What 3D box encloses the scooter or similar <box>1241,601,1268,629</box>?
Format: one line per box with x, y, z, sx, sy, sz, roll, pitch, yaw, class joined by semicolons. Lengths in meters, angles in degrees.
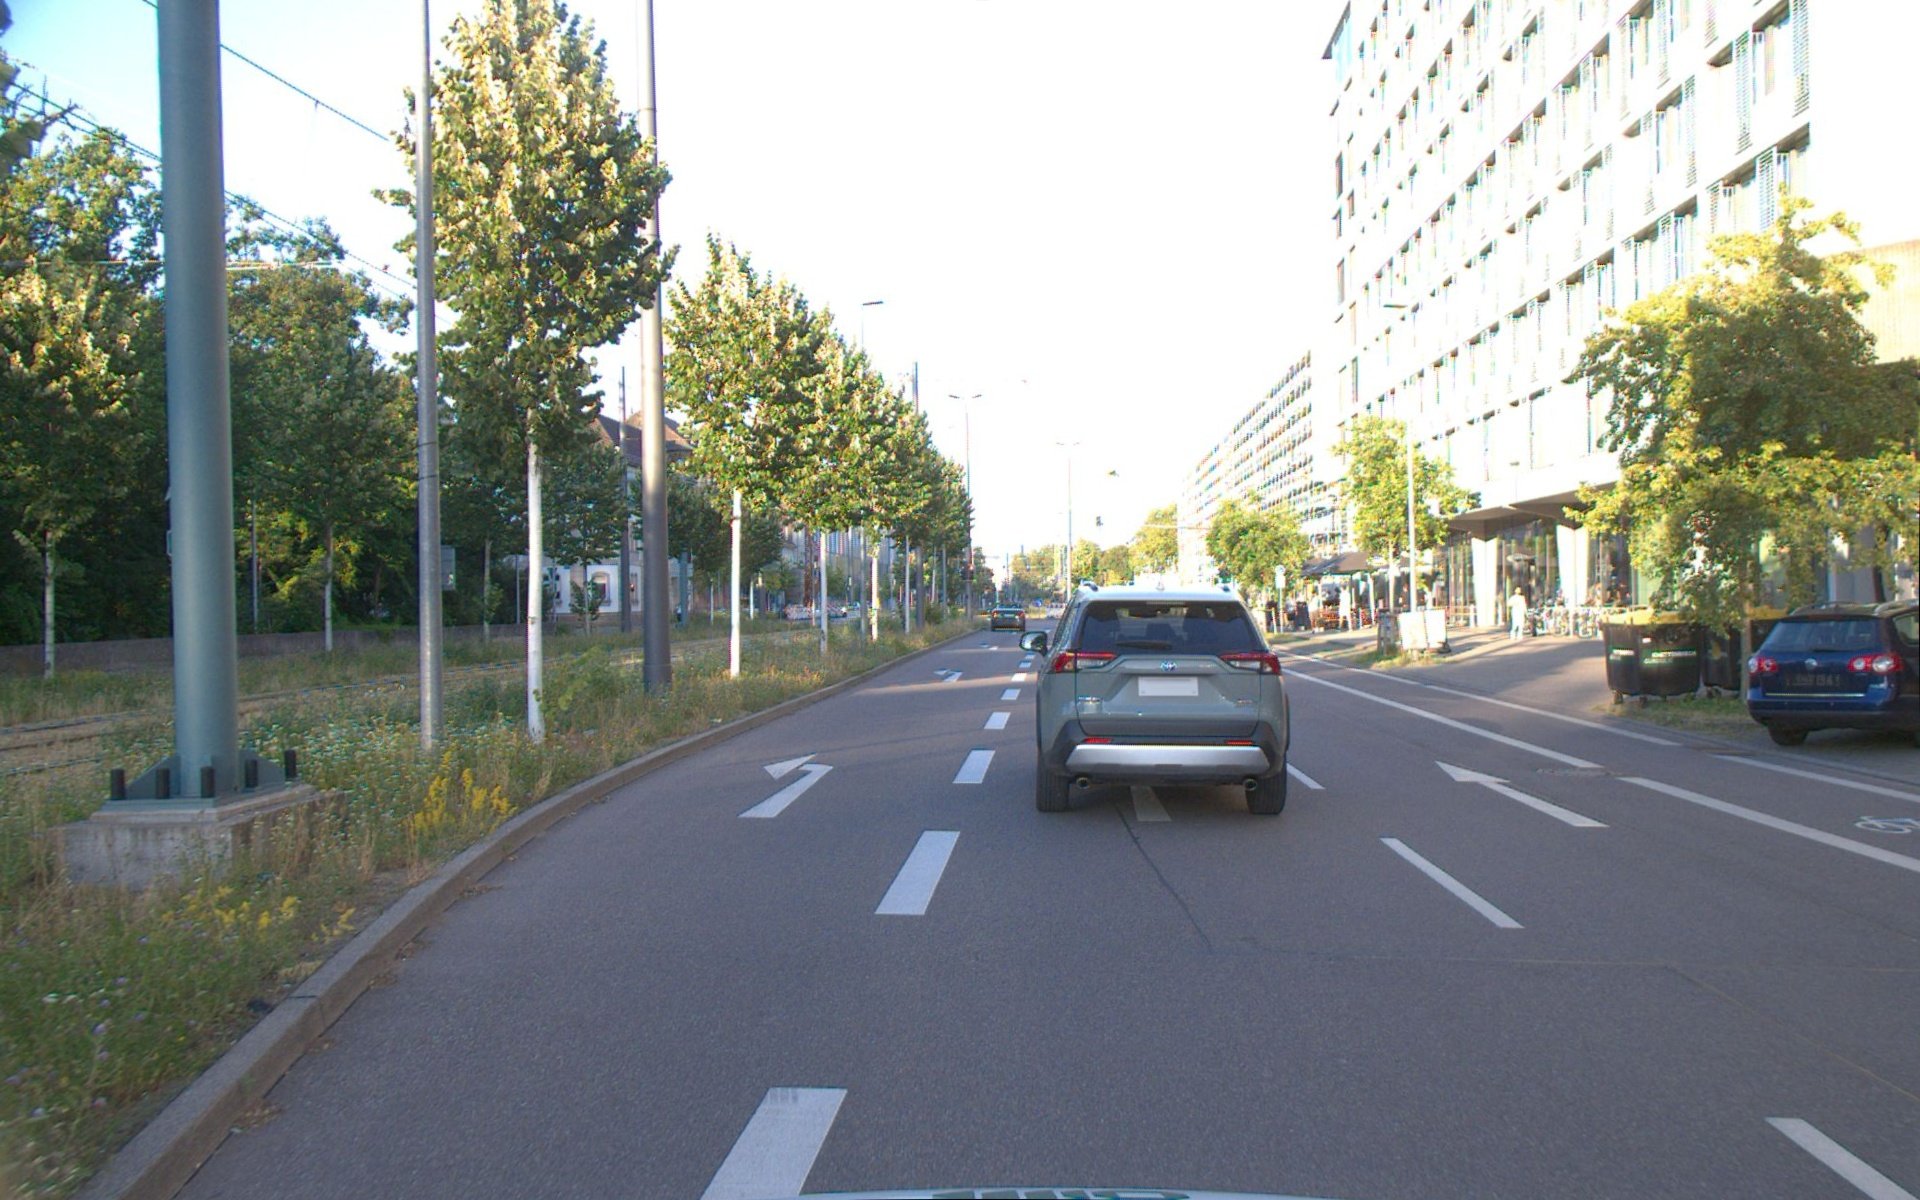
13.512;0.703;75.829;1.104;1.235;0.532;-3;-2;19;scooter or similar

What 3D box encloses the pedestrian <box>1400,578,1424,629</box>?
17.114;0.132;62.627;0.740;1.856;0.941;-3;0;12;pedestrian

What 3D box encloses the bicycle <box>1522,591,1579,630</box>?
19.072;0.343;53.441;1.577;1.174;0.611;-3;0;-9;bicycle

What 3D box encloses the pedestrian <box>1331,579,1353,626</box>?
16.084;0.094;69.672;0.807;1.921;0.867;-3;-1;11;pedestrian

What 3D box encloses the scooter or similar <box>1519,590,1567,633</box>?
18.260;0.354;51.824;1.242;1.254;0.608;-3;0;-1;scooter or similar

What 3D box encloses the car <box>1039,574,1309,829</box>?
1.620;0.659;13.225;1.795;1.702;4.285;0;0;5;car

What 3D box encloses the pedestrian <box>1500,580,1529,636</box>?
16.706;0.237;49.836;0.564;1.647;0.643;-3;0;0;pedestrian

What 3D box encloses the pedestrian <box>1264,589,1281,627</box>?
14.561;0.357;77.040;0.640;1.732;0.689;-3;0;3;pedestrian

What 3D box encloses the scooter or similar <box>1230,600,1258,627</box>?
13.574;0.651;79.077;1.185;1.222;0.480;-3;0;-2;scooter or similar

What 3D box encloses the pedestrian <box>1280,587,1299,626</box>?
15.358;0.289;77.096;0.671;1.765;0.761;-3;0;3;pedestrian

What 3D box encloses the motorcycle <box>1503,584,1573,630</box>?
18.932;0.225;54.173;2.074;1.410;0.670;-3;1;-11;motorcycle

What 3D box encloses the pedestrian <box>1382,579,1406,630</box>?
16.424;0.167;62.577;0.728;1.881;0.941;-4;-1;12;pedestrian

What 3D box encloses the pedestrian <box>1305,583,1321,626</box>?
15.003;0.194;70.390;0.564;1.817;0.829;-3;-1;11;pedestrian

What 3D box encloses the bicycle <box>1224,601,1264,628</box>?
13.670;0.688;79.620;1.757;1.214;0.567;-3;0;-2;bicycle

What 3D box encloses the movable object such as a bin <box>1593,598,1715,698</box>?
9.876;0.666;23.583;1.063;1.324;1.360;-3;0;-3;movable object such as a bin

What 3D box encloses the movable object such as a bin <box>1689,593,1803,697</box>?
11.208;0.623;23.631;0.993;1.370;1.160;-4;0;-2;movable object such as a bin

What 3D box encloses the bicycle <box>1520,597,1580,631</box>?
18.700;0.446;52.440;1.665;1.003;0.551;-3;0;0;bicycle

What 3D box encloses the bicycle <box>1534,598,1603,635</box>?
18.527;0.499;50.344;1.846;1.027;0.565;-3;0;1;bicycle

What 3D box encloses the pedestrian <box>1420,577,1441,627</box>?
17.711;0.086;62.249;0.605;1.843;0.777;-4;-1;12;pedestrian

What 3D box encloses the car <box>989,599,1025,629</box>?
2.293;0.654;79.766;1.639;1.375;4.002;0;0;3;car

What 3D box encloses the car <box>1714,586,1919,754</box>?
10.562;0.672;18.426;4.619;1.534;1.914;-3;0;-37;car
